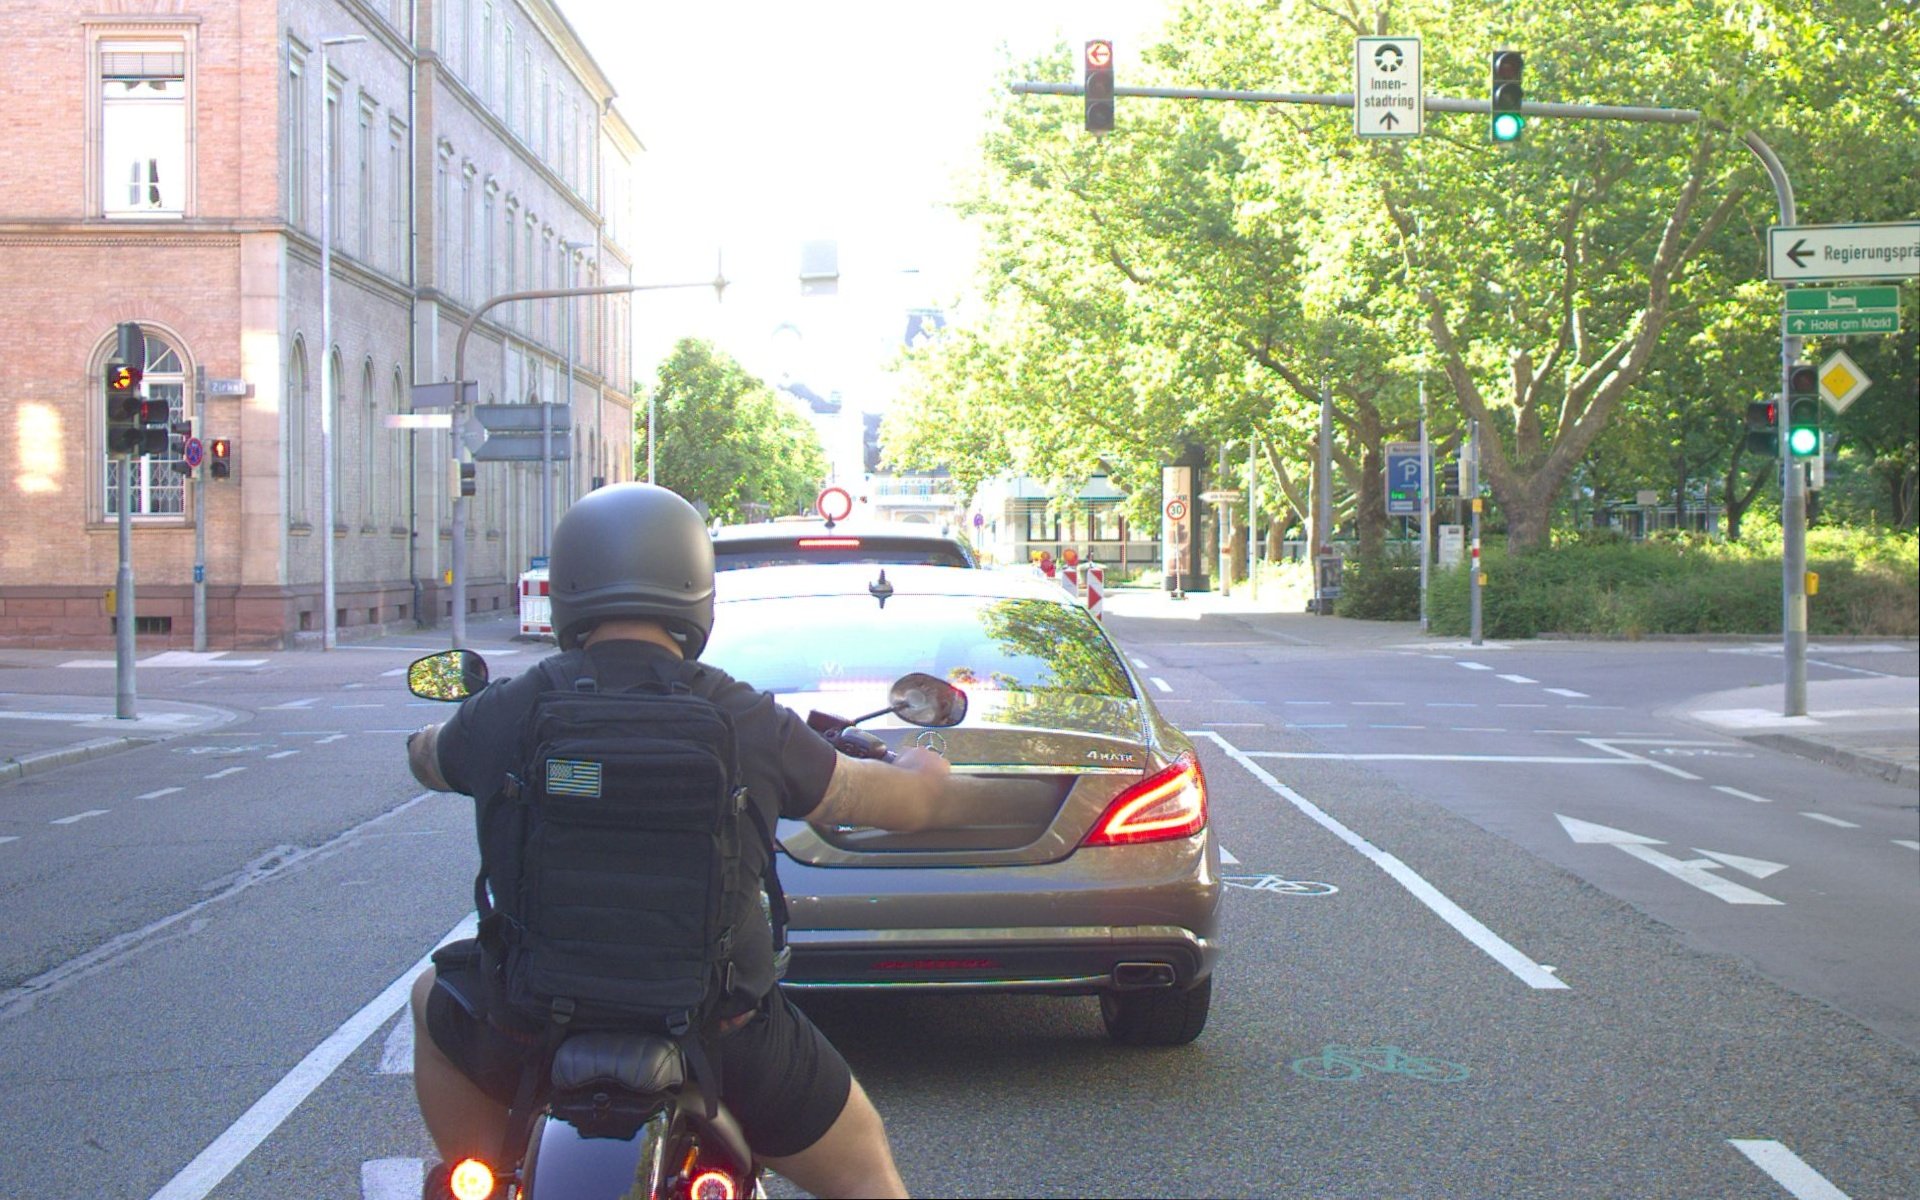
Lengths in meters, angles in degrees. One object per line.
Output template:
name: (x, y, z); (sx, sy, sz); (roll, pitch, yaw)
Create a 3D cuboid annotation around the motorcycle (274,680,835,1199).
motorcycle: (-0.560, 0.784, 5.435); (0.660, 1.236, 2.058); (1, 1, -1)

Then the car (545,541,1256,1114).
car: (-0.405, 0.573, 11.140); (1.824, 1.481, 4.334); (1, 1, -7)

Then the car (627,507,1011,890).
car: (-0.636, 0.409, 16.986); (1.651, 1.646, 4.000); (1, 1, -1)

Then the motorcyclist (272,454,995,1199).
motorcyclist: (-0.464, 0.601, 5.340); (0.990, 1.605, 1.120); (1, 0, -1)
